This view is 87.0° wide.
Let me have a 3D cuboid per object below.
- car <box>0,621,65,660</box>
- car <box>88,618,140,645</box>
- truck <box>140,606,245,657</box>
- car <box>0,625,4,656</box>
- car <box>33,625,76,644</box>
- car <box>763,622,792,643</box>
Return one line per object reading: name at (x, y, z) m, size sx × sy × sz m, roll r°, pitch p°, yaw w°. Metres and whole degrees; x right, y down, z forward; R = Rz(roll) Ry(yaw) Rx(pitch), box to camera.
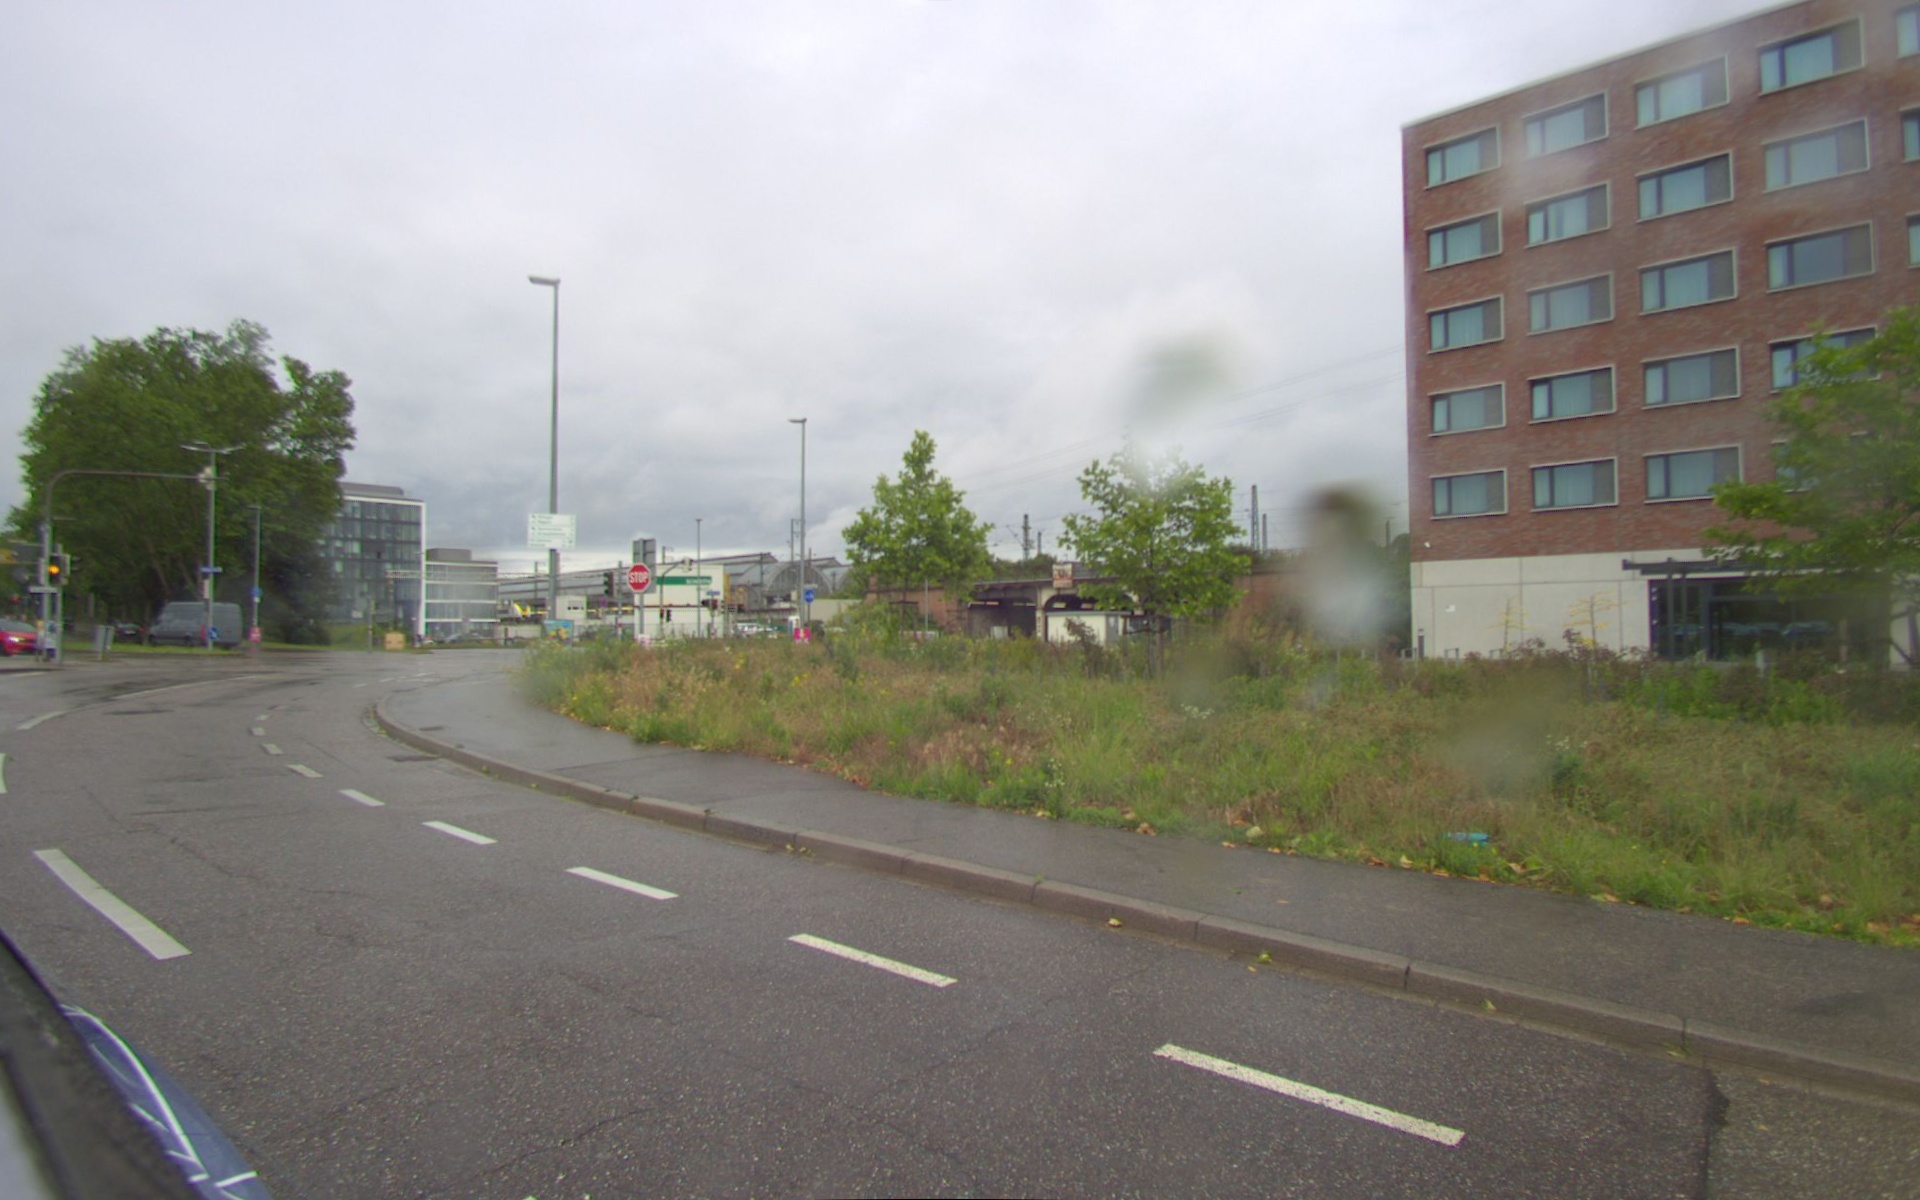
car at (-35.592, 1.484, 37.607) m, size 3.968 × 1.392 × 1.734 m, roll 0°, pitch -2°, yaw 19°
car at (-52.146, 1.961, 62.391) m, size 3.523 × 1.463 × 1.630 m, roll -4°, pitch -5°, yaw 36°
truck at (-41.946, 1.722, 55.269) m, size 6.951 × 2.639 × 2.069 m, roll -1°, pitch -2°, yaw 31°
car at (-45.836, 1.873, 46.996) m, size 3.999 × 1.392 × 1.720 m, roll -2°, pitch -4°, yaw 42°
car at (-77.989, 2.966, 87.154) m, size 3.992 × 1.654 × 1.975 m, roll -1°, pitch -2°, yaw 36°
car at (-18.376, 3.220, 101.996) m, size 1.965 × 2.029 × 4.013 m, roll 0°, pitch 0°, yaw -24°
